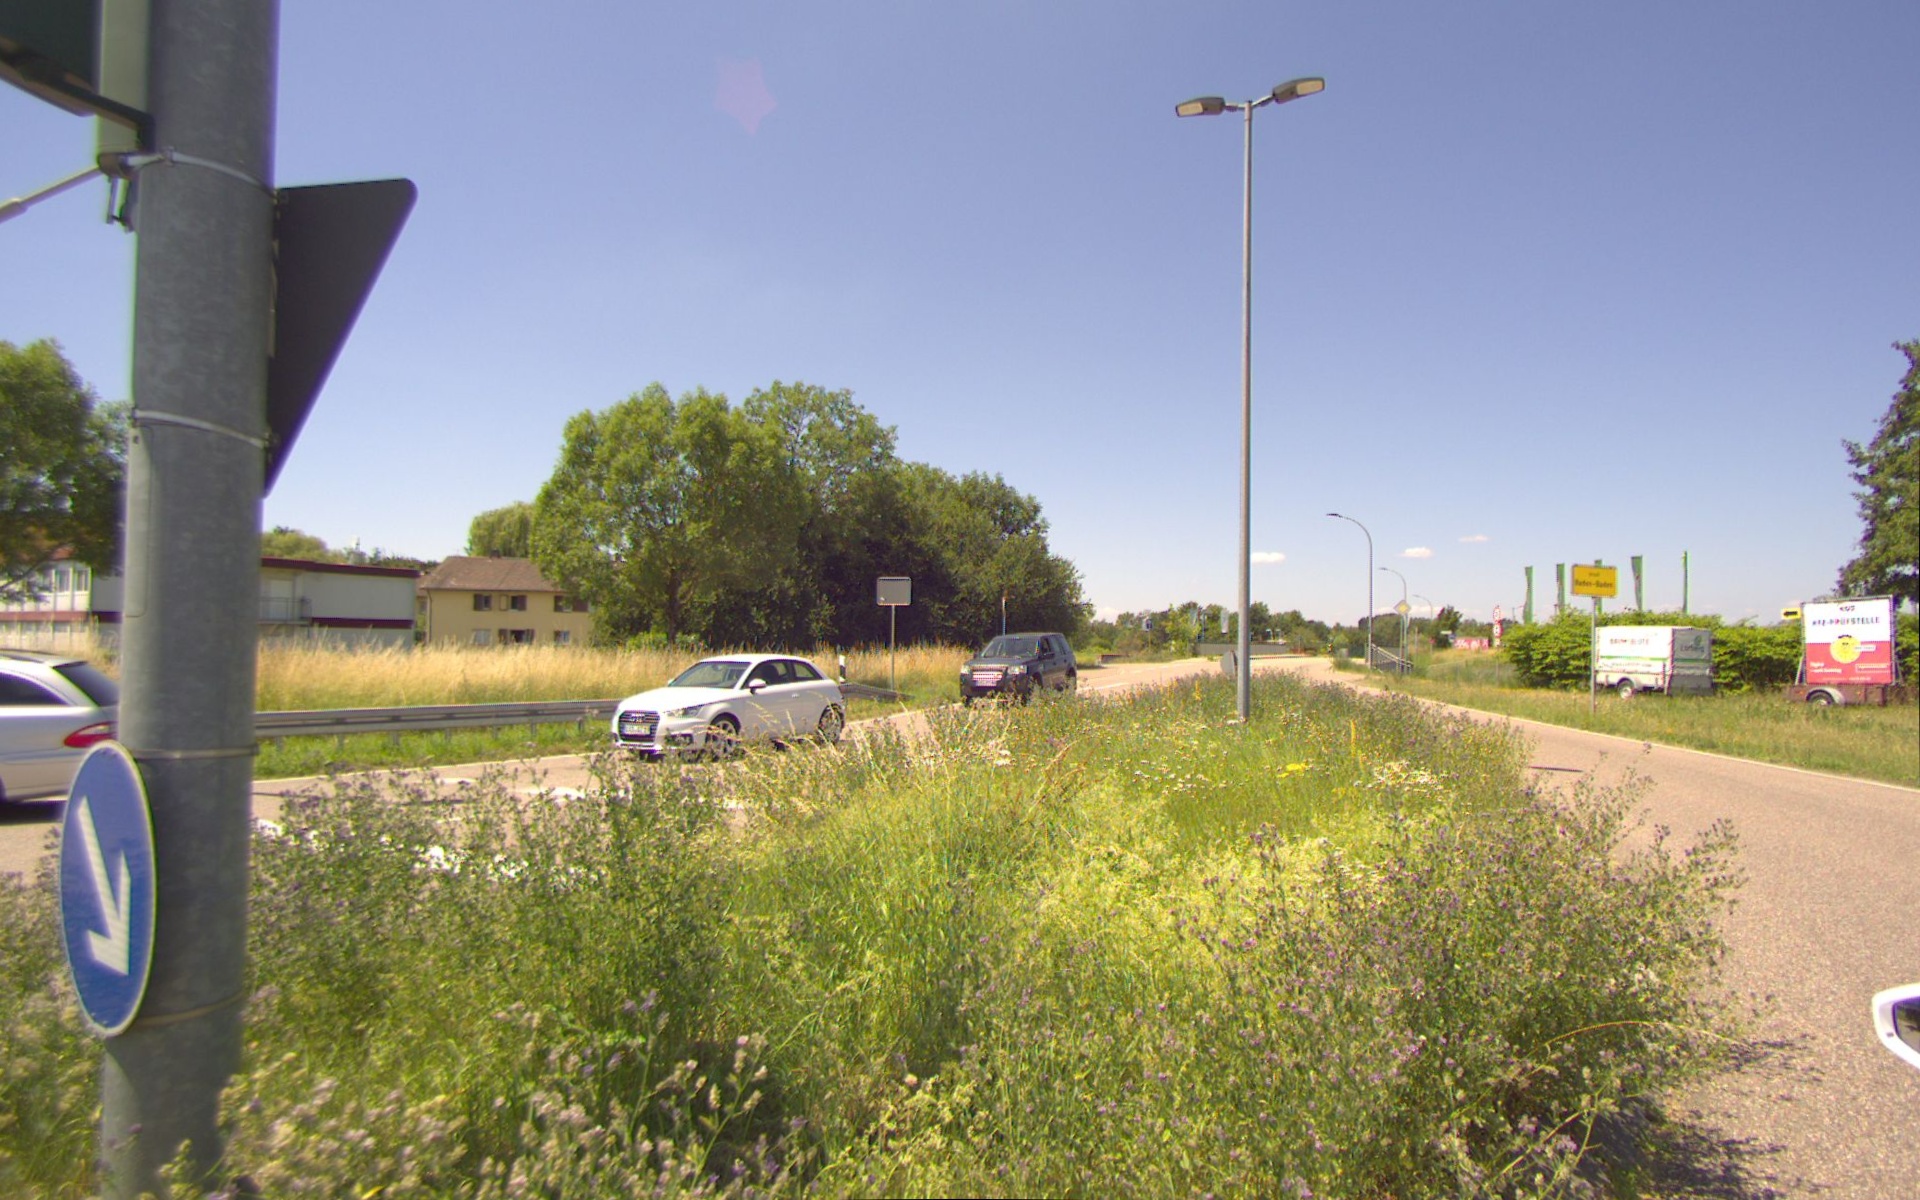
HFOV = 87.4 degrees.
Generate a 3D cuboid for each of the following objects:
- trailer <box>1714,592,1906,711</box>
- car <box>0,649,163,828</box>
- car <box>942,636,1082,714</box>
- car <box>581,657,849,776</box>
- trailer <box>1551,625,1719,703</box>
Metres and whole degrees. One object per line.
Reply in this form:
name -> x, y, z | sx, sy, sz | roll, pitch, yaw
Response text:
trailer -> 20.838, 1.269, 24.774 | 1.820, 2.705, 3.141 | 2, -3, -12
car -> -9.906, 1.229, 8.576 | 4.603, 1.524, 1.781 | 2, -6, -32
car -> 1.407, 1.798, 24.939 | 1.962, 1.744, 4.482 | -3, -3, 24
car -> -3.445, 1.594, 14.845 | 1.701, 1.428, 3.854 | -1, -2, 28
trailer -> 19.766, 1.858, 29.625 | 1.820, 2.105, 3.961 | 2, -3, -12
